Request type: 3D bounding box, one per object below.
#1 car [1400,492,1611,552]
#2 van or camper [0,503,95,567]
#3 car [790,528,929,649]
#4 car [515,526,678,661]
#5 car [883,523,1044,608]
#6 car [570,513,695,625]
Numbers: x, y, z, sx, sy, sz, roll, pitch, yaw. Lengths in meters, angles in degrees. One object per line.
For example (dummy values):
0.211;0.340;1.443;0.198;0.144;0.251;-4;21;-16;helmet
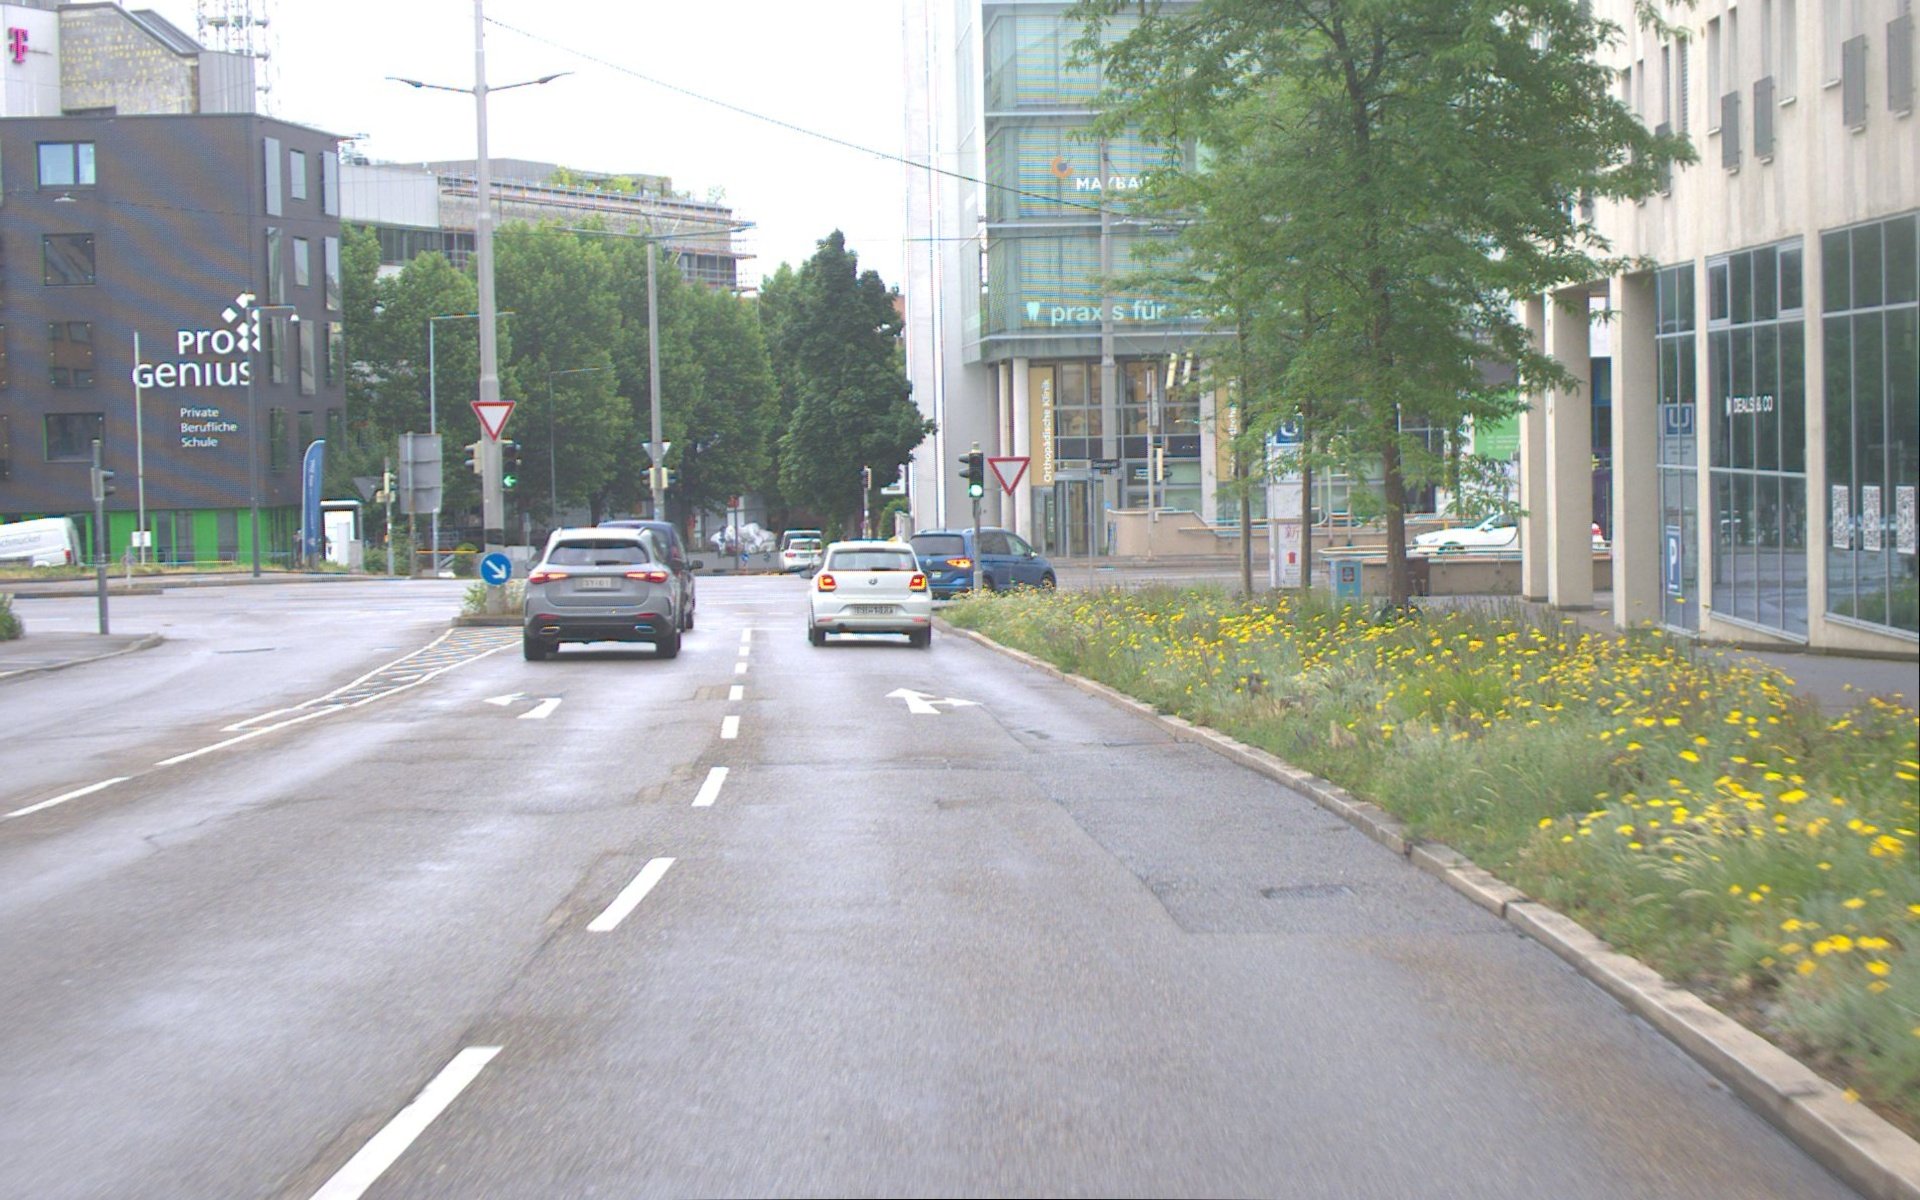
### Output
13.696;-1.976;86.523;4.946;1.382;1.824;-1;2;-4;car
-36.042;-2.495;131.409;5.329;2.360;2.739;1;0;-4;van or camper
-1.453;-0.200;48.446;1.670;1.468;3.781;-1;3;-6;car
-4.578;-0.116;43.781;1.908;1.626;4.211;1;1;-4;car
0.114;-0.733;71.172;1.996;1.568;3.996;0;3;22;car
-5.530;-0.539;57.675;1.852;1.762;4.132;-1;1;-8;car
